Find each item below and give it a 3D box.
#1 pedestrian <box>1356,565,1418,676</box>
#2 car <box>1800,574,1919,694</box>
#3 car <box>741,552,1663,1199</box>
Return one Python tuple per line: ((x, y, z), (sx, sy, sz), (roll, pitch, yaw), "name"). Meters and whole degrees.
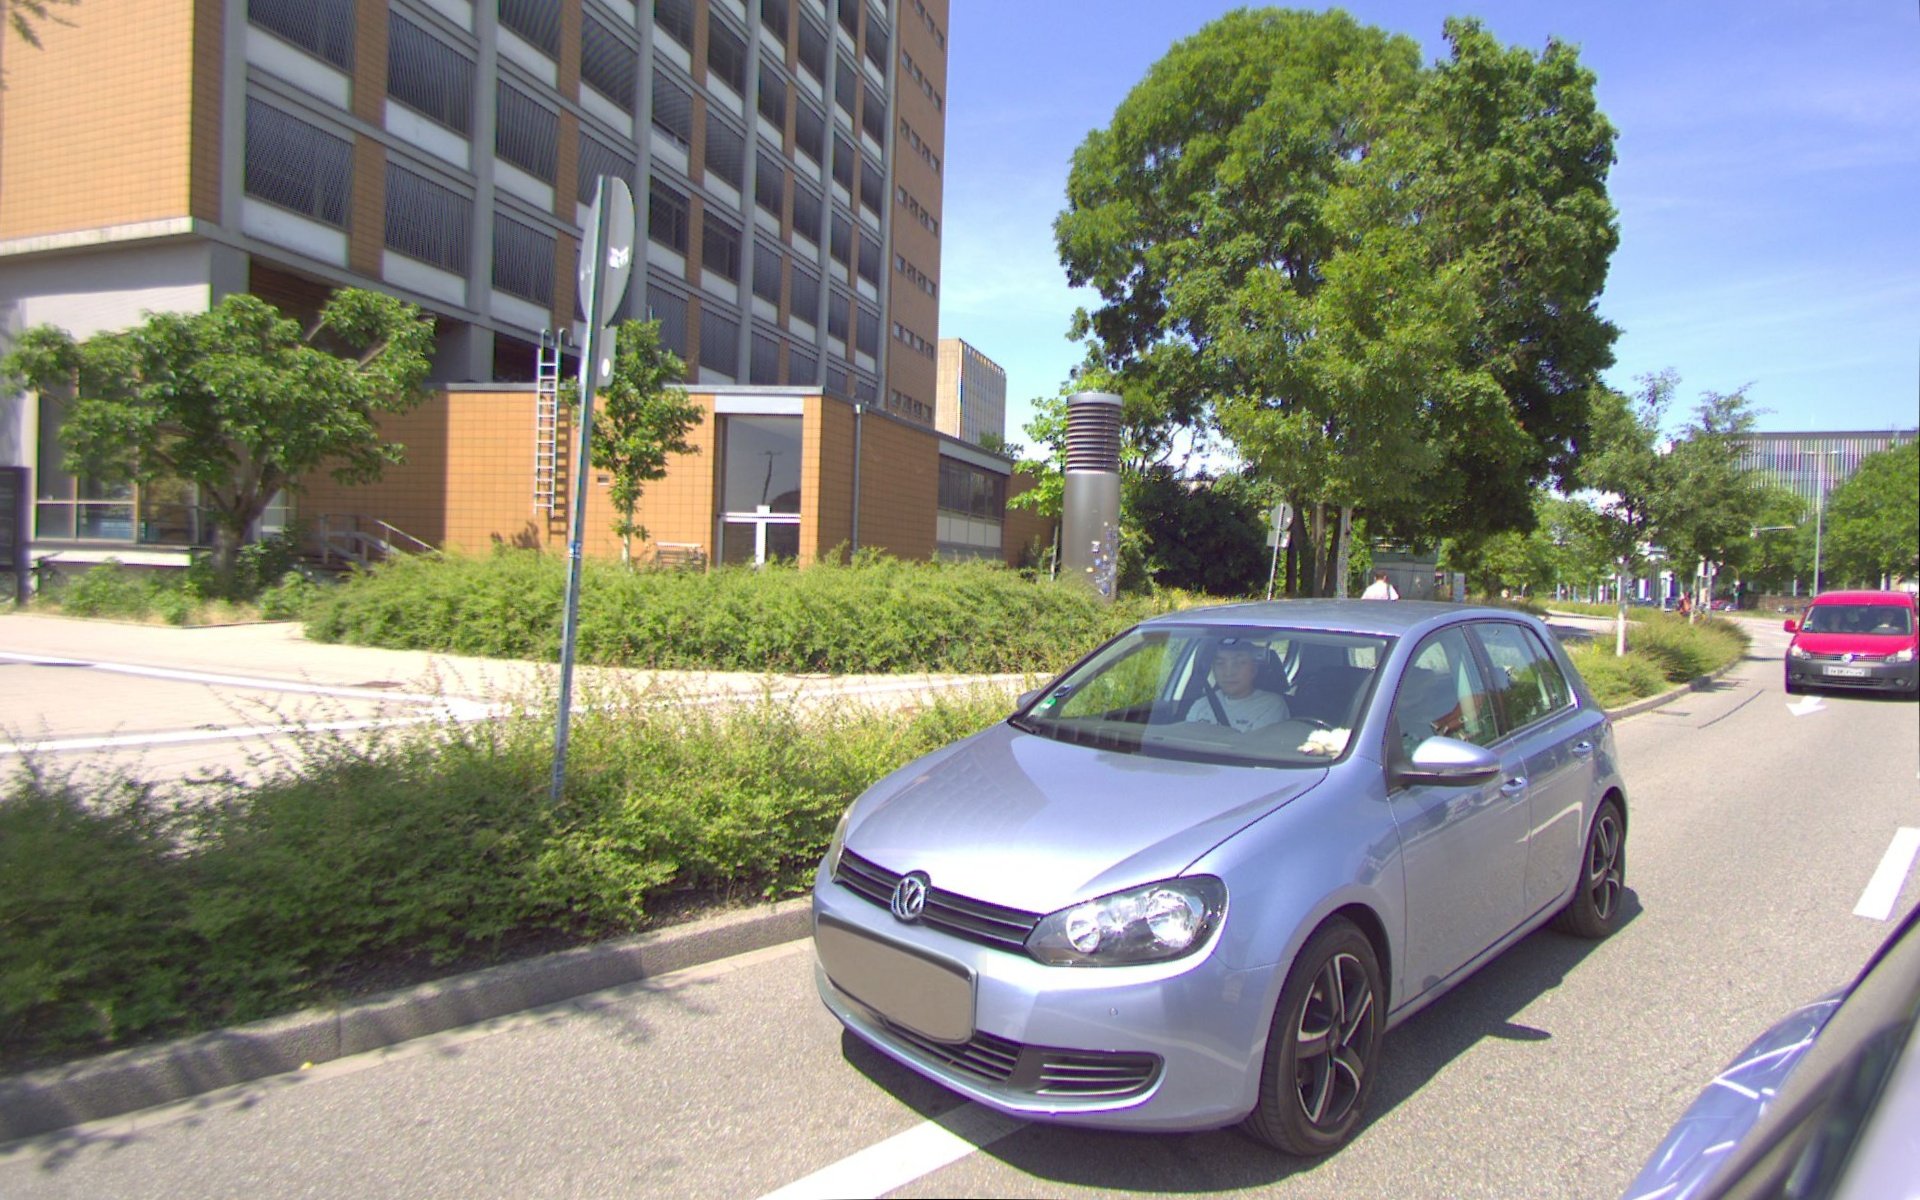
((7.193, 0.327, 17.041), (0.603, 1.820, 0.728), (1, 1, -40), "pedestrian")
((16.197, 0.525, 17.924), (1.652, 1.882, 4.472), (1, 1, 44), "car")
((1.290, 0.643, 4.019), (3.935, 1.477, 1.653), (0, 0, -43), "car")
